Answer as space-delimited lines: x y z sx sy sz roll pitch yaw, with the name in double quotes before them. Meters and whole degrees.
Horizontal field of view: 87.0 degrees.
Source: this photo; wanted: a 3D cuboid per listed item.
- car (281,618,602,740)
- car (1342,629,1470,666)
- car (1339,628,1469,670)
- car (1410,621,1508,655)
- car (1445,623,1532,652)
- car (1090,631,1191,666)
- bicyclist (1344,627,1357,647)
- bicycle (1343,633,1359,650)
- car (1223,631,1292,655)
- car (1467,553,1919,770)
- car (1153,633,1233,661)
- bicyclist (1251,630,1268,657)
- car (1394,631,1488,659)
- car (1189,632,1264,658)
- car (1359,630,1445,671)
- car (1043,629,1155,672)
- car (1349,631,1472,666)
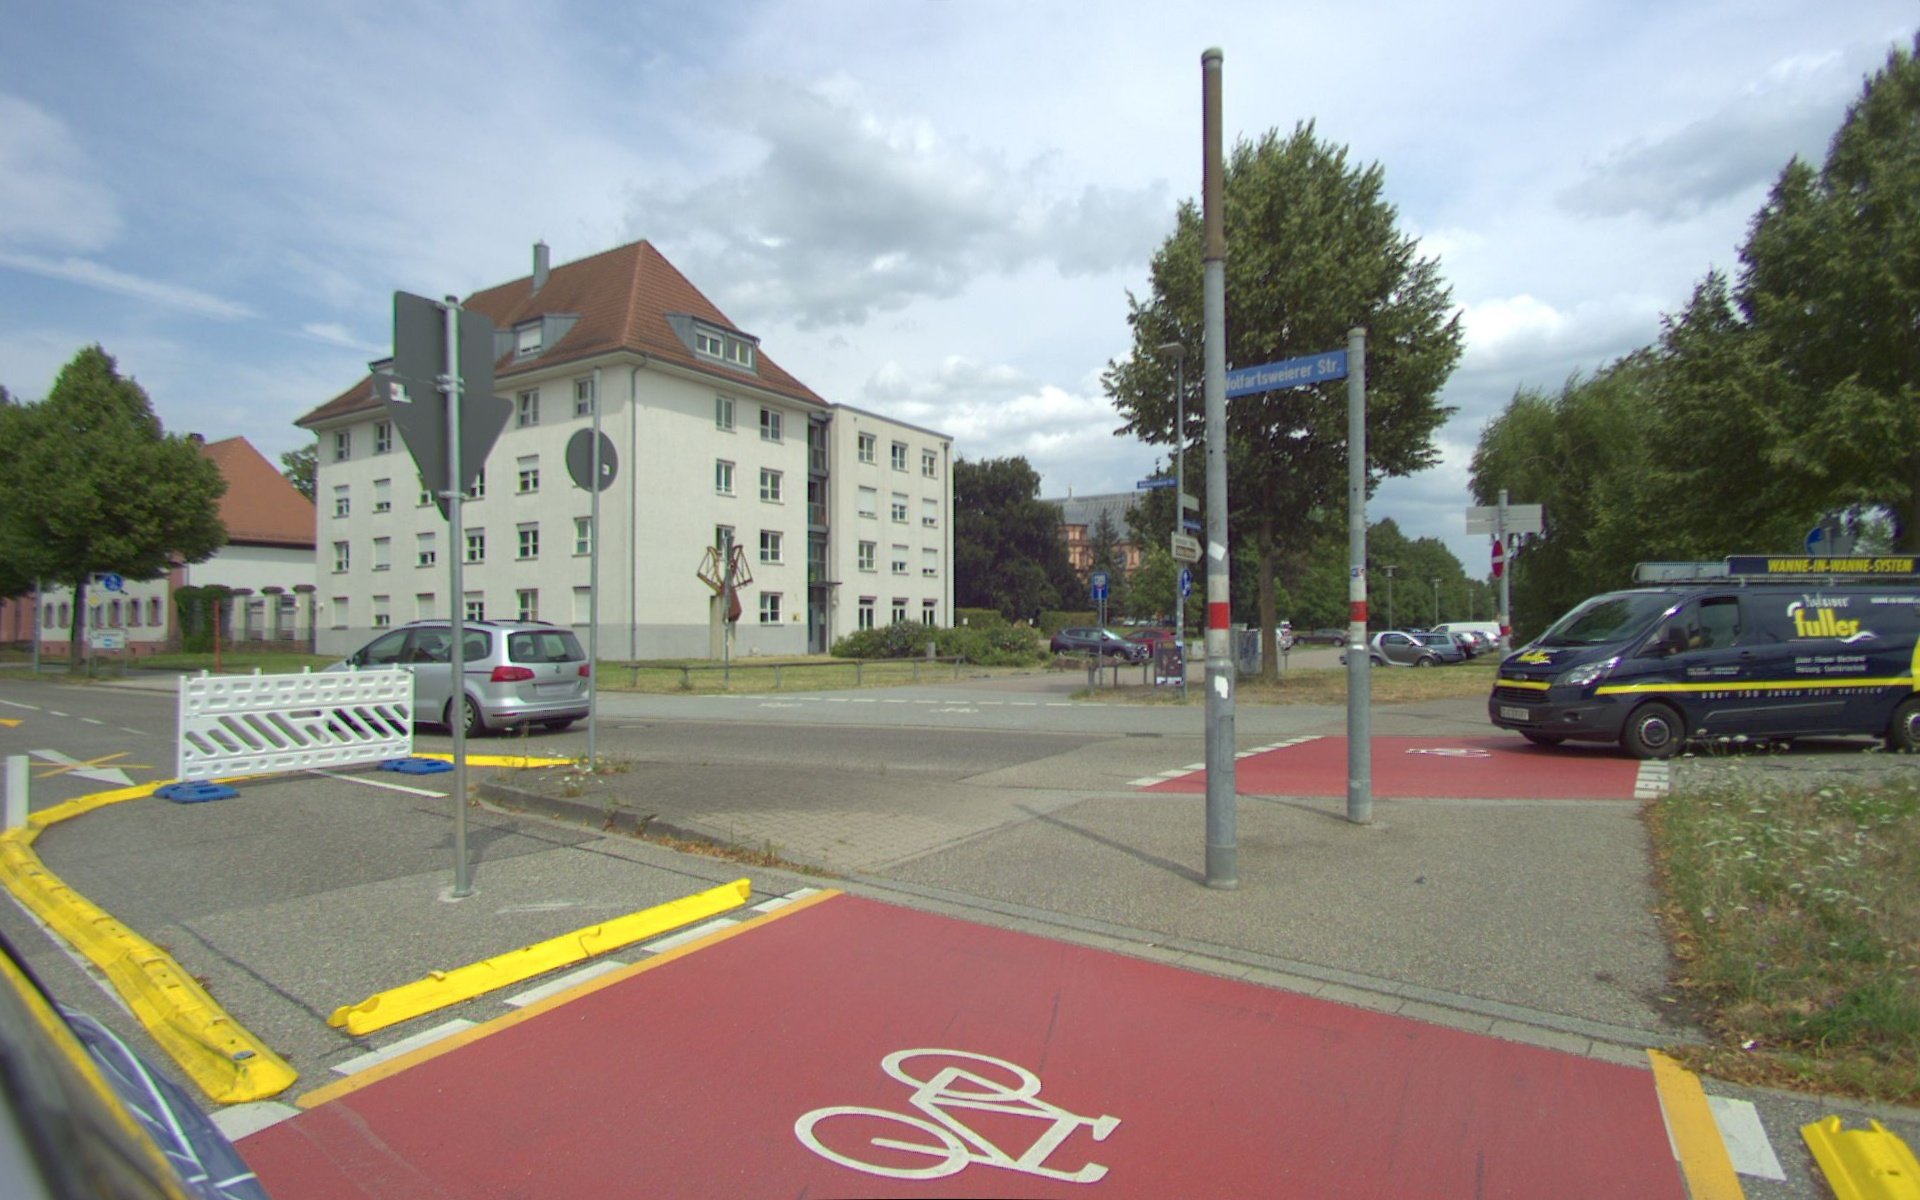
"car" -7.870 1.139 15.318 4.719 1.635 1.787 -2 -2 24
"car" 19.310 2.043 43.930 4.874 1.482 1.813 -2 -2 33
"car" 18.144 2.017 41.429 4.687 1.482 1.814 -4 -3 30
"car" 32.088 2.438 65.131 5.549 2.072 2.178 -1 -2 31
"car" 39.135 2.757 74.959 5.553 2.072 2.177 -2 -2 33
"car" 8.740 2.312 49.081 4.394 1.610 1.977 -2 -2 33
"bicyclist" 28.007 2.653 72.558 0.776 1.415 0.722 -2 -2 28
"bicycle" 28.035 2.972 72.593 0.776 1.185 2.208 -2 -2 28
"car" 19.444 2.794 66.161 3.993 1.479 1.798 -2 -2 31
"car" 9.052 0.666 12.010 5.080 2.290 2.003 0 -2 -6
"car" 12.820 2.583 55.769 3.993 1.479 1.598 -2 -2 31
"bicyclist" 16.240 2.377 54.896 0.601 1.434 0.793 -2 -3 39
"car" 26.821 2.487 56.477 4.590 1.482 1.813 -2 -2 33
"car" 16.000 2.689 60.796 3.993 1.479 1.798 -2 -2 31
"car" 17.082 1.970 39.131 2.900 1.434 1.470 -4 -4 26
"car" 6.070 2.198 44.335 4.484 1.778 1.979 -2 -2 31
"car" 20.441 2.182 46.023 4.874 1.482 1.813 -2 -2 33
